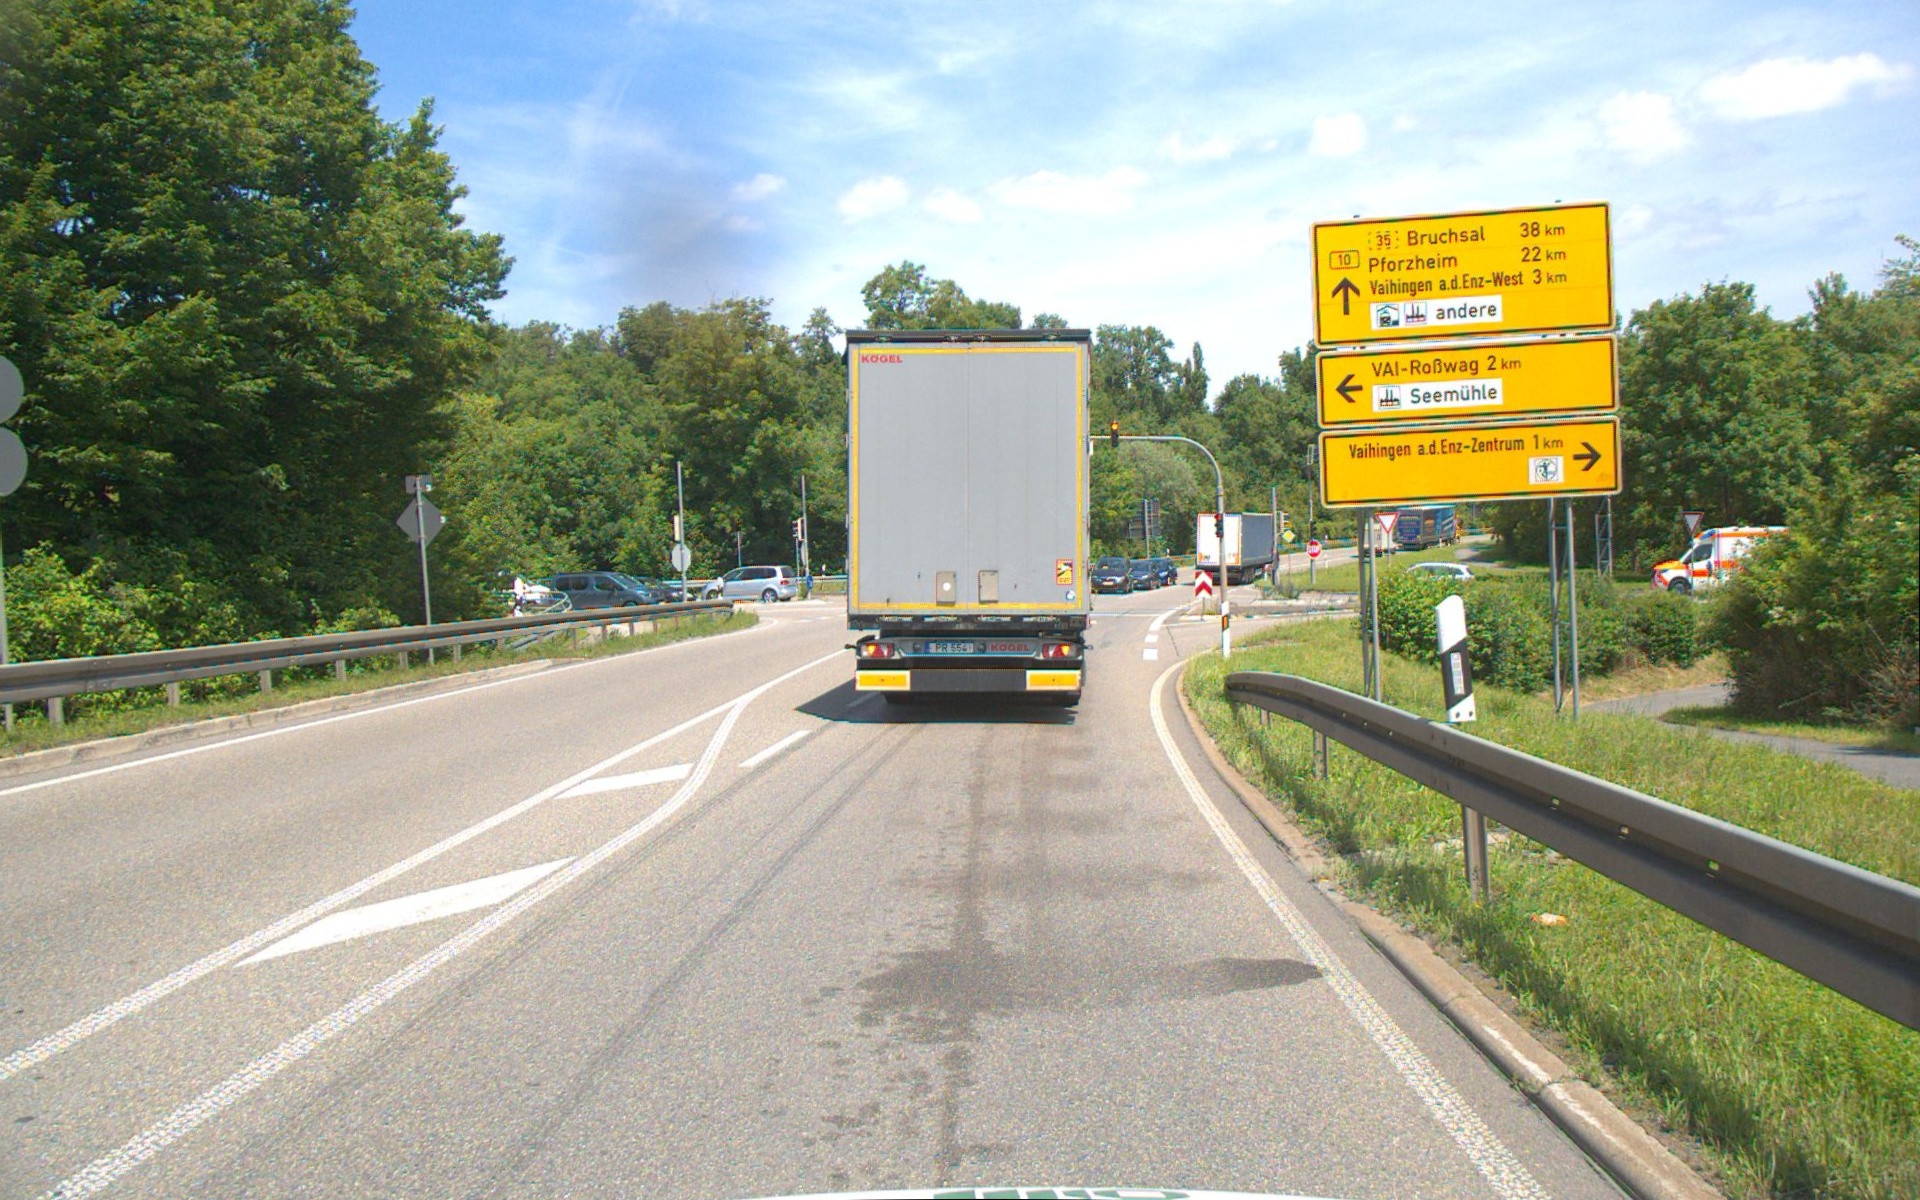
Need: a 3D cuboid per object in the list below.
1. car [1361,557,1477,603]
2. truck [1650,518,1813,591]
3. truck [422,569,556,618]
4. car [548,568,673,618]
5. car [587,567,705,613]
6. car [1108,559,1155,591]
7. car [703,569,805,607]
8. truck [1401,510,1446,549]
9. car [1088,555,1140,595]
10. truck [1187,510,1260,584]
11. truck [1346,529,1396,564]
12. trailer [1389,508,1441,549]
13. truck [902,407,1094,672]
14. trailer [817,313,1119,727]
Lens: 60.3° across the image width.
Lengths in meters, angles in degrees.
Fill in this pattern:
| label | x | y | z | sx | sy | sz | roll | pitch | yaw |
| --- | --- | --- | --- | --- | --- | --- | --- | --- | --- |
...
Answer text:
| label | x | y | z | sx | sy | sz | roll | pitch | yaw |
| --- | --- | --- | --- | --- | --- | --- | --- | --- | --- |
| car | 18.482 | -0.786 | 66.765 | 4.333 | 1.748 | 2.002 | 1 | -1 | 10 |
| truck | 31.288 | -1.823 | 67.234 | 5.892 | 2.775 | 2.500 | 1 | -1 | 25 |
| truck | -18.653 | -0.237 | 65.656 | 4.783 | 1.823 | 2.040 | 1 | -1 | -7 |
| car | -13.064 | -0.265 | 61.922 | 4.143 | 1.801 | 2.002 | 0 | 0 | 15 |
| car | -12.527 | -0.389 | 66.024 | 4.143 | 1.801 | 2.002 | 0 | 0 | 15 |
| car | 8.995 | -1.288 | 86.732 | 1.951 | 1.517 | 4.261 | 1 | -1 | 13 |
| car | -8.861 | -0.525 | 71.346 | 3.902 | 1.545 | 2.001 | 1 | -1 | 14 |
| truck | 46.417 | -7.022 | 165.448 | 3.188 | 3.749 | 6.238 | 0 | 1 | 27 |
| car | 7.485 | -1.166 | 80.085 | 1.951 | 1.816 | 4.946 | 1 | 0 | 12 |
| truck | 15.568 | -3.163 | 97.146 | 3.111 | 4.098 | 11.757 | 0 | 2 | 15 |
| truck | 36.661 | -4.734 | 147.289 | 2.800 | 2.999 | 7.097 | 1 | 1 | 27 |
| trailer | 44.546 | -6.953 | 161.663 | 3.188 | 3.749 | 9.241 | 0 | 1 | 27 |
| truck | 0.773 | -0.989 | 29.099 | 2.974 | 4.104 | 6.632 | 0 | 1 | 3 |
| trailer | 0.413 | -0.886 | 22.726 | 2.988 | 4.104 | 12.565 | 0 | 1 | 3 |
